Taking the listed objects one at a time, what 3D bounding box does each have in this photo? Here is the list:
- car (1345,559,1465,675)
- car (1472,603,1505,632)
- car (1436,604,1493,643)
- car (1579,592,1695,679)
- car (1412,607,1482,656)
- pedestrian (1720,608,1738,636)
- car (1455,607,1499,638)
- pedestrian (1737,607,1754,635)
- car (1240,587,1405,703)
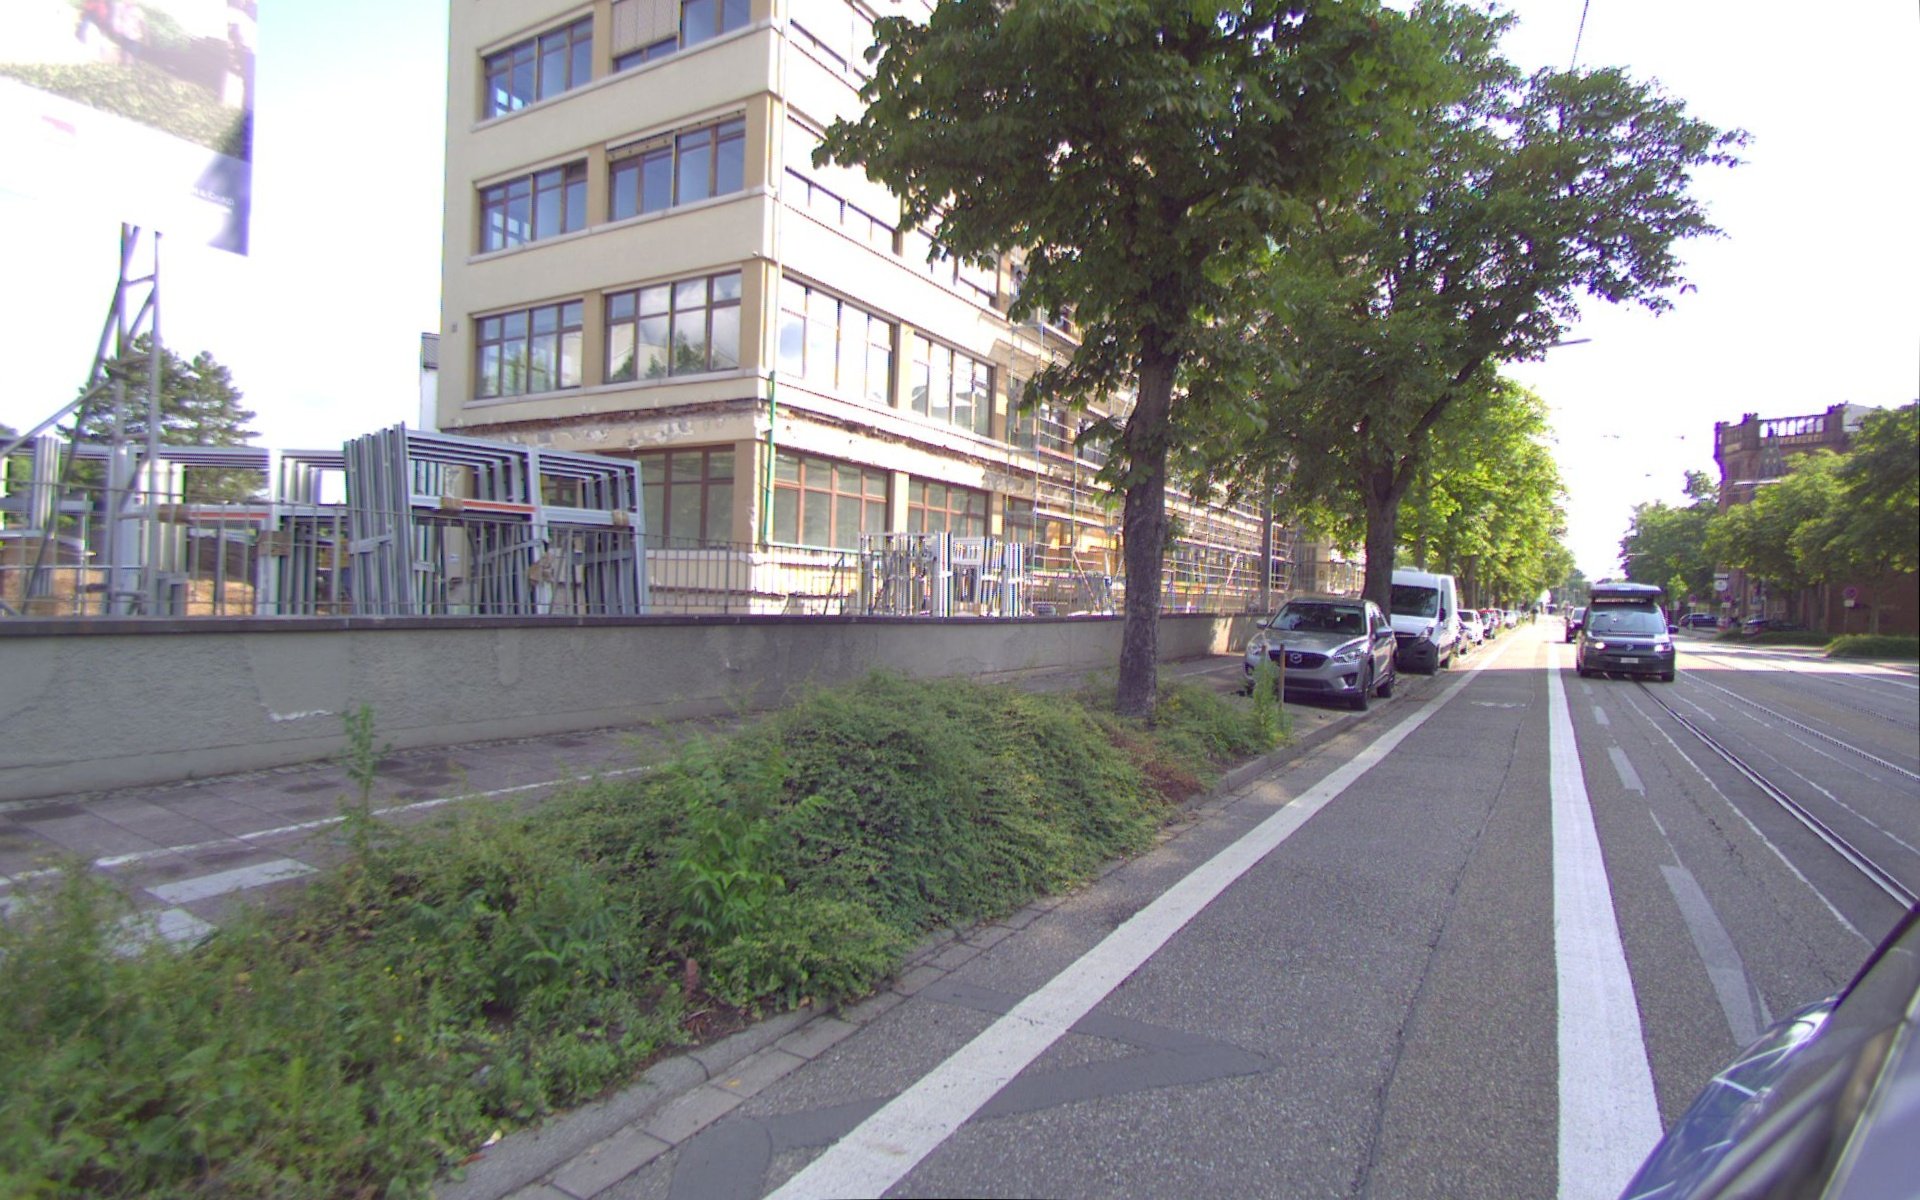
[{"bbox_3d":[11.394,0.324,25.670,2.112,2.599,5.856,1,1,30],"label":"car"},{"bbox_3d":[31.381,0.995,60.007,1.520,1.594,3.608,-2,0,31],"label":"car"},{"bbox_3d":[21.025,0.961,42.089,1.559,1.475,3.847,-2,0,35],"label":"car"},{"bbox_3d":[15.862,0.756,23.936,1.931,1.796,4.785,1,0,30],"label":"car"},{"bbox_3d":[16.422,1.004,34.043,1.726,1.389,4.459,2,2,31],"label":"car"},{"bbox_3d":[56.806,1.631,74.778,0.899,2.039,1.044,-2,-1,34],"label":"pedestrian"},{"bbox_3d":[26.111,1.113,51.043,1.723,1.416,3.591,-2,0,31],"label":"car"},{"bbox_3d":[57.688,1.543,74.309,0.899,2.039,1.044,-2,-1,35],"label":"pedestrian"},{"bbox_3d":[6.035,0.640,16.517,1.756,1.627,4.409,0,0,31],"label":"car"}]
